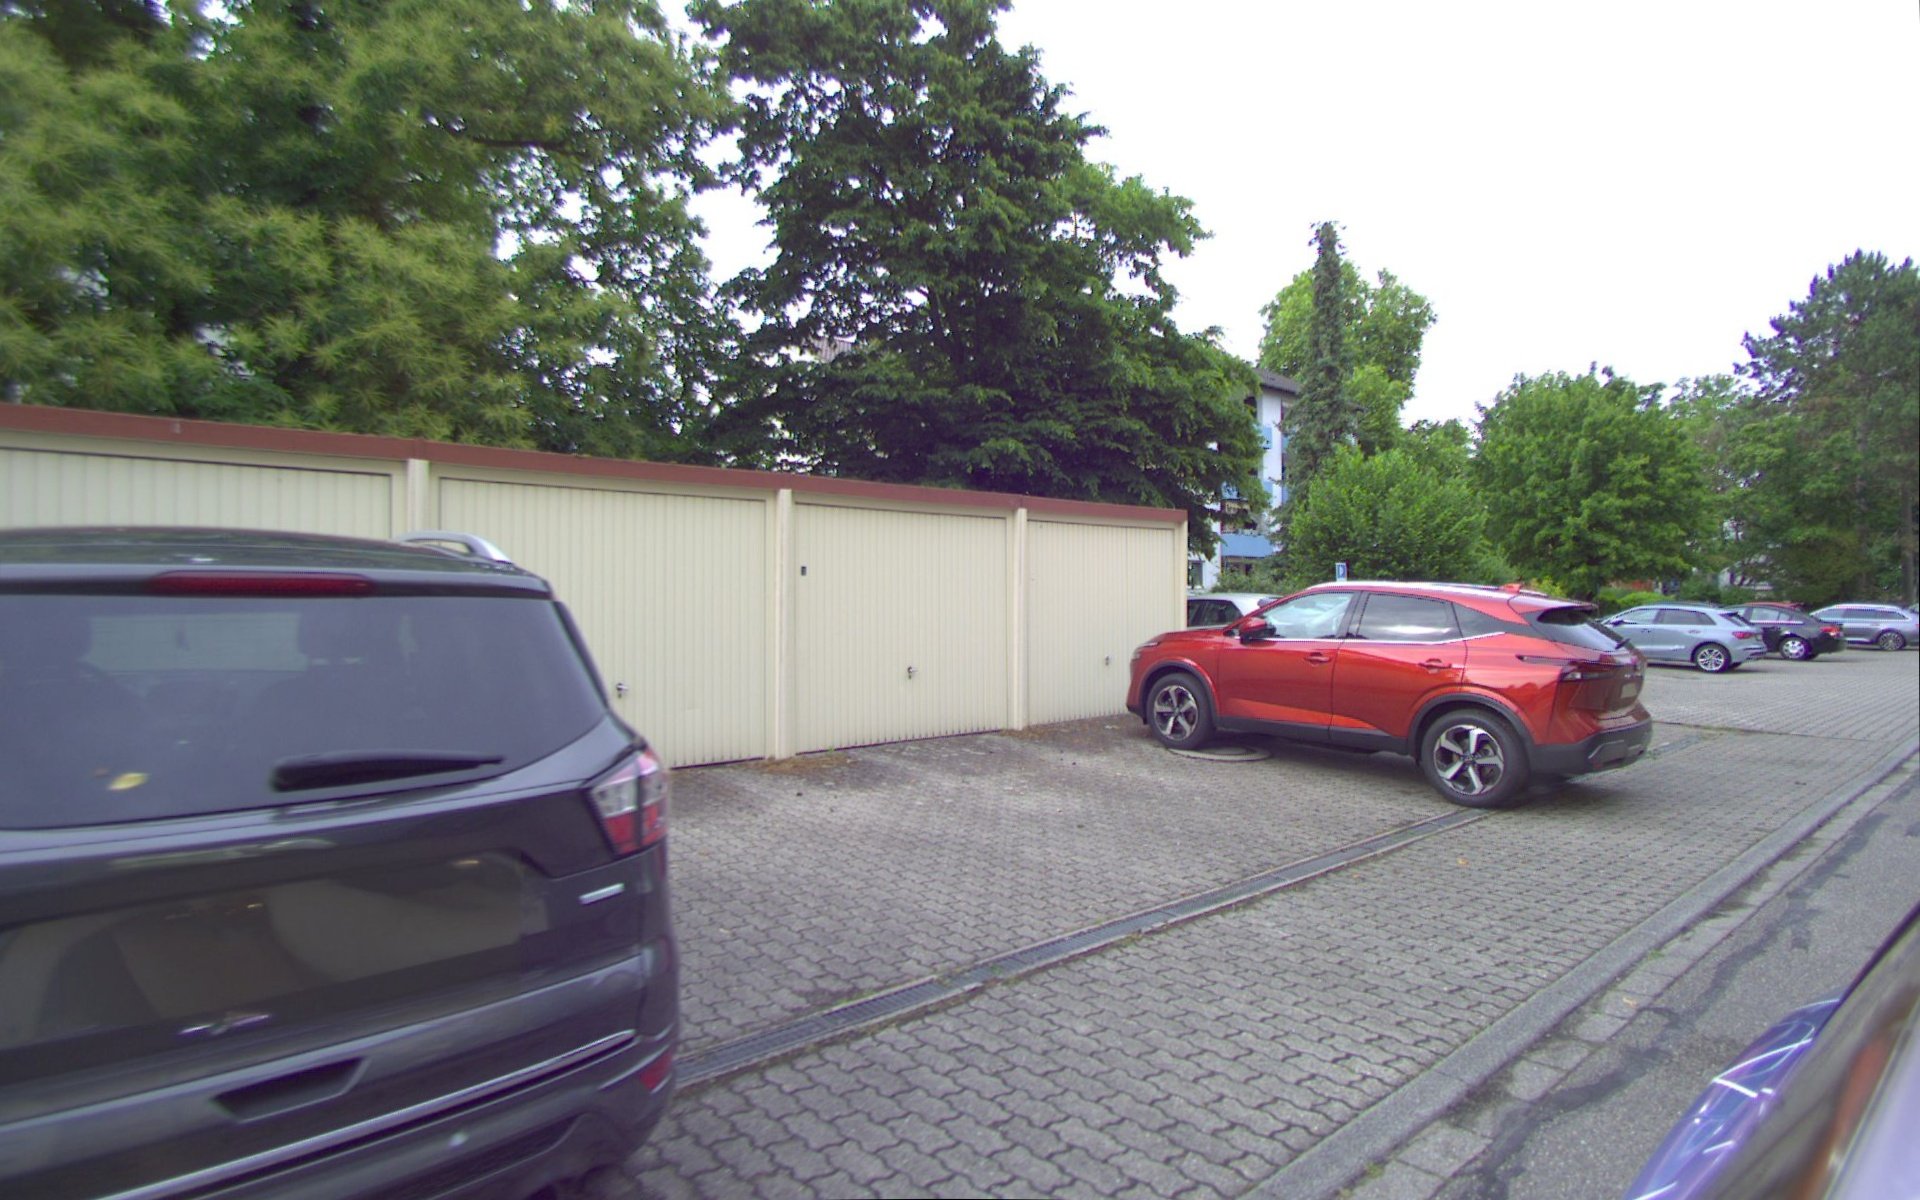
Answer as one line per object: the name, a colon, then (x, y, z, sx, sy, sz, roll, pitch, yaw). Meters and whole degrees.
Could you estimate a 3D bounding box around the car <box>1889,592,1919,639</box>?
car: (35.819, 0.556, 35.877, 1.756, 1.667, 4.099, 0, 0, -41)

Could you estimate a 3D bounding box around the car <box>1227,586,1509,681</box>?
car: (7.472, 0.530, 18.925, 1.834, 1.549, 4.581, 0, 0, -41)

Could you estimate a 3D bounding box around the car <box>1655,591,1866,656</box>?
car: (22.228, 0.587, 28.247, 1.756, 1.503, 4.334, 0, 2, -40)

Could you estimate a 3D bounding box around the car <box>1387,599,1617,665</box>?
car: (12.734, 0.695, 23.979, 1.992, 1.402, 4.396, 0, 0, -43)

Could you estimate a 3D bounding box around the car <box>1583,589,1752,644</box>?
car: (22.653, 0.490, 32.523, 1.756, 1.503, 4.103, 0, 2, -40)

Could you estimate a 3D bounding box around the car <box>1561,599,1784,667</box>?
car: (16.431, 0.706, 23.490, 1.702, 1.453, 3.970, 0, 0, -43)

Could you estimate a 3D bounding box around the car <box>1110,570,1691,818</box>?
car: (3.593, 0.566, 8.914, 1.902, 1.606, 4.296, 0, 2, -41)

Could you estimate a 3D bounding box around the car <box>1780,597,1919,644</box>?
car: (30.610, 0.676, 34.344, 1.756, 1.504, 4.099, 0, 0, -41)

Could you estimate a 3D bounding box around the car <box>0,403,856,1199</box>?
car: (-2.339, 0.561, 3.137, 1.965, 1.749, 4.203, 0, 2, -41)

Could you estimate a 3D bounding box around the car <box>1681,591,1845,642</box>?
car: (27.342, 0.520, 34.572, 1.756, 1.503, 4.103, 0, 2, -40)
